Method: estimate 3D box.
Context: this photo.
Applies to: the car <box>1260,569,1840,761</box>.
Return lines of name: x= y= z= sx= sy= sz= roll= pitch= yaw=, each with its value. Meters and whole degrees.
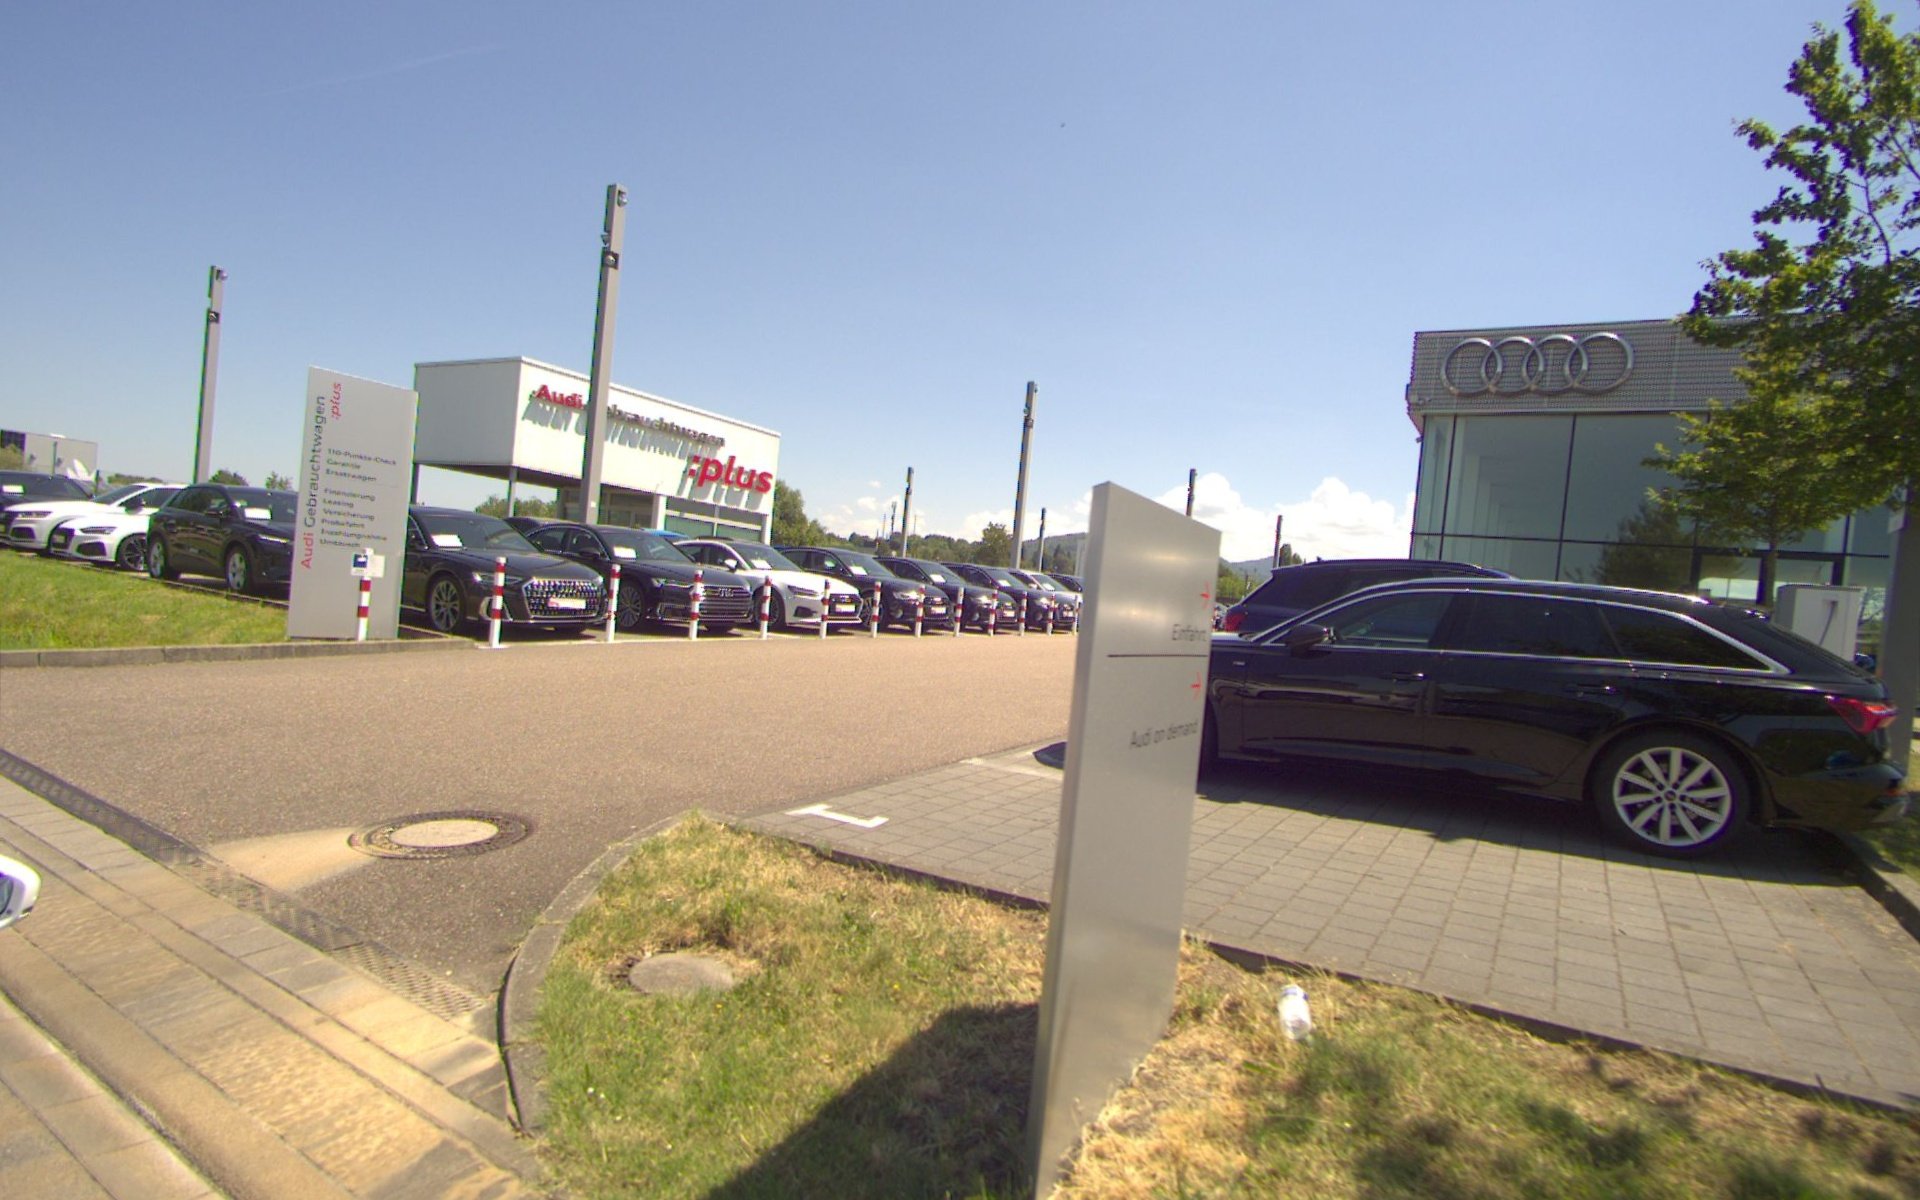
car: x=6.021 y=0.554 z=10.892 sx=4.905 sy=1.475 sz=1.961 roll=4 pitch=1 yaw=32

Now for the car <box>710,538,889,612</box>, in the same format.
car: x=-4.540 y=-0.709 z=28.179 sx=4.700 sy=1.611 sz=2.025 roll=6 pitch=2 yaw=32

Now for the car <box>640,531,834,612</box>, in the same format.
car: x=-5.735 y=-0.753 z=25.683 sx=4.700 sy=1.611 sz=2.025 roll=6 pitch=2 yaw=32

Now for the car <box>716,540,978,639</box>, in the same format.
car: x=-2.324 y=-0.255 z=20.091 sx=4.994 sy=1.477 sz=2.024 roll=6 pitch=3 yaw=32

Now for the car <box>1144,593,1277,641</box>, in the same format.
car: x=10.236 y=0.667 z=41.275 sx=4.822 sy=1.477 sz=2.024 roll=6 pitch=3 yaw=32

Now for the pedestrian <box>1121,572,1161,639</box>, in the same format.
pedestrian: x=4.891 y=0.155 z=27.162 sx=0.627 sy=1.717 sz=0.711 roll=9 pitch=2 yaw=31

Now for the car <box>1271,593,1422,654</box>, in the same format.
car: x=11.815 y=0.710 z=30.779 sx=4.000 sy=1.575 sz=1.958 roll=3 pitch=1 yaw=-22

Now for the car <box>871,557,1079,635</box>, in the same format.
car: x=0.328 y=-0.139 z=25.243 sx=4.822 sy=1.477 sz=2.024 roll=6 pitch=3 yaw=32

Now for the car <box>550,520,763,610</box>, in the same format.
car: x=-7.006 y=-0.827 z=23.065 sx=4.700 sy=1.611 sz=2.025 roll=6 pitch=2 yaw=32

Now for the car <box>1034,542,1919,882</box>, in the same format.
car: x=3.160 y=0.494 z=6.760 sx=4.905 sy=1.475 sz=1.961 roll=4 pitch=1 yaw=32

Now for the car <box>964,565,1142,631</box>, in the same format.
car: x=2.738 y=-0.099 z=29.964 sx=4.822 sy=1.477 sz=2.024 roll=6 pitch=3 yaw=32

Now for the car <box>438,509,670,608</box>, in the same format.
car: x=-8.455 y=-0.873 z=20.819 sx=4.700 sy=1.611 sz=2.025 roll=6 pitch=2 yaw=32

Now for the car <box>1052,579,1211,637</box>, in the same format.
car: x=5.792 y=0.234 z=34.141 sx=4.822 sy=1.477 sz=2.024 roll=6 pitch=3 yaw=32

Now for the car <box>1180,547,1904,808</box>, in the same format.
car: x=4.676 y=0.465 z=8.875 sx=4.905 sy=1.619 sz=1.961 roll=4 pitch=2 yaw=32

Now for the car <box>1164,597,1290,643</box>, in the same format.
car: x=11.526 y=0.827 z=43.577 sx=4.822 sy=1.477 sz=2.024 roll=6 pitch=3 yaw=32

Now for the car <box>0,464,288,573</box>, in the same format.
car: x=-16.674 y=-1.591 z=20.460 sx=1.997 sy=1.715 sz=4.531 roll=6 pitch=2 yaw=29

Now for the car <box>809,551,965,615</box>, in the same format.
car: x=-2.417 y=-0.564 z=32.738 sx=4.700 sy=1.611 sz=2.025 roll=6 pitch=2 yaw=32

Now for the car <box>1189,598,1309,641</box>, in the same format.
car: x=13.141 y=0.859 z=45.856 sx=4.822 sy=1.477 sz=2.024 roll=6 pitch=3 yaw=32

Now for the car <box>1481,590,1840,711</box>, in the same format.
car: x=12.156 y=0.806 z=17.916 sx=4.905 sy=1.642 sz=1.961 roll=4 pitch=1 yaw=32

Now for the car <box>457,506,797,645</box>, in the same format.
car: x=-5.185 y=-0.447 z=15.326 sx=5.386 sy=1.595 sz=1.895 roll=6 pitch=3 yaw=32

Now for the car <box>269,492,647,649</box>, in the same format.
car: x=-6.666 y=-0.458 z=13.154 sx=5.153 sy=1.535 sz=2.024 roll=6 pitch=3 yaw=32

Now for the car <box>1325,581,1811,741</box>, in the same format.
car: x=7.483 y=0.659 z=12.909 sx=4.905 sy=1.475 sz=1.961 roll=4 pitch=1 yaw=32

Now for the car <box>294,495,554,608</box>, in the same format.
car: x=-9.759 y=-0.902 z=18.214 sx=4.700 sy=1.611 sz=2.025 roll=6 pitch=2 yaw=32

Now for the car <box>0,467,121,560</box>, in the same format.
car: x=-20.596 y=-1.963 z=22.024 sx=5.025 sy=1.715 sz=2.024 roll=6 pitch=2 yaw=33

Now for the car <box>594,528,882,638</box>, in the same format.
car: x=-4.035 y=-0.356 z=17.956 sx=4.994 sy=1.477 sz=2.024 roll=6 pitch=3 yaw=32

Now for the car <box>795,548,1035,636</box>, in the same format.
car: x=-1.061 y=-0.204 z=22.445 sx=4.994 sy=1.476 sz=2.025 roll=6 pitch=2 yaw=32

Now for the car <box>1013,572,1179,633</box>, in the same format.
car: x=4.336 y=0.053 z=32.347 sx=4.822 sy=1.477 sz=2.024 roll=6 pitch=3 yaw=32

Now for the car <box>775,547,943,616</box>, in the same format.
car: x=-3.092 y=-0.575 z=30.334 sx=4.700 sy=1.611 sz=2.025 roll=6 pitch=2 yaw=32

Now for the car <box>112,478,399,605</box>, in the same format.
car: x=-11.250 y=-0.953 z=15.973 sx=4.700 sy=1.594 sz=2.025 roll=6 pitch=2 yaw=32

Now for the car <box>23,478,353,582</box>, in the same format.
car: x=-14.436 y=-1.252 z=19.123 sx=1.997 sy=1.476 sz=4.531 roll=6 pitch=2 yaw=29

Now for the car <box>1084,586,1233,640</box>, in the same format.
car: x=7.155 y=0.434 z=36.479 sx=4.822 sy=1.477 sz=2.024 roll=6 pitch=3 yaw=32

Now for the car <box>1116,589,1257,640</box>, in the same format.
car: x=8.717 y=0.535 z=38.867 sx=4.822 sy=1.477 sz=2.024 roll=6 pitch=3 yaw=32

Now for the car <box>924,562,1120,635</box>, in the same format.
car: x=1.635 y=-0.071 z=27.119 sx=4.822 sy=1.477 sz=2.024 roll=6 pitch=3 yaw=32
